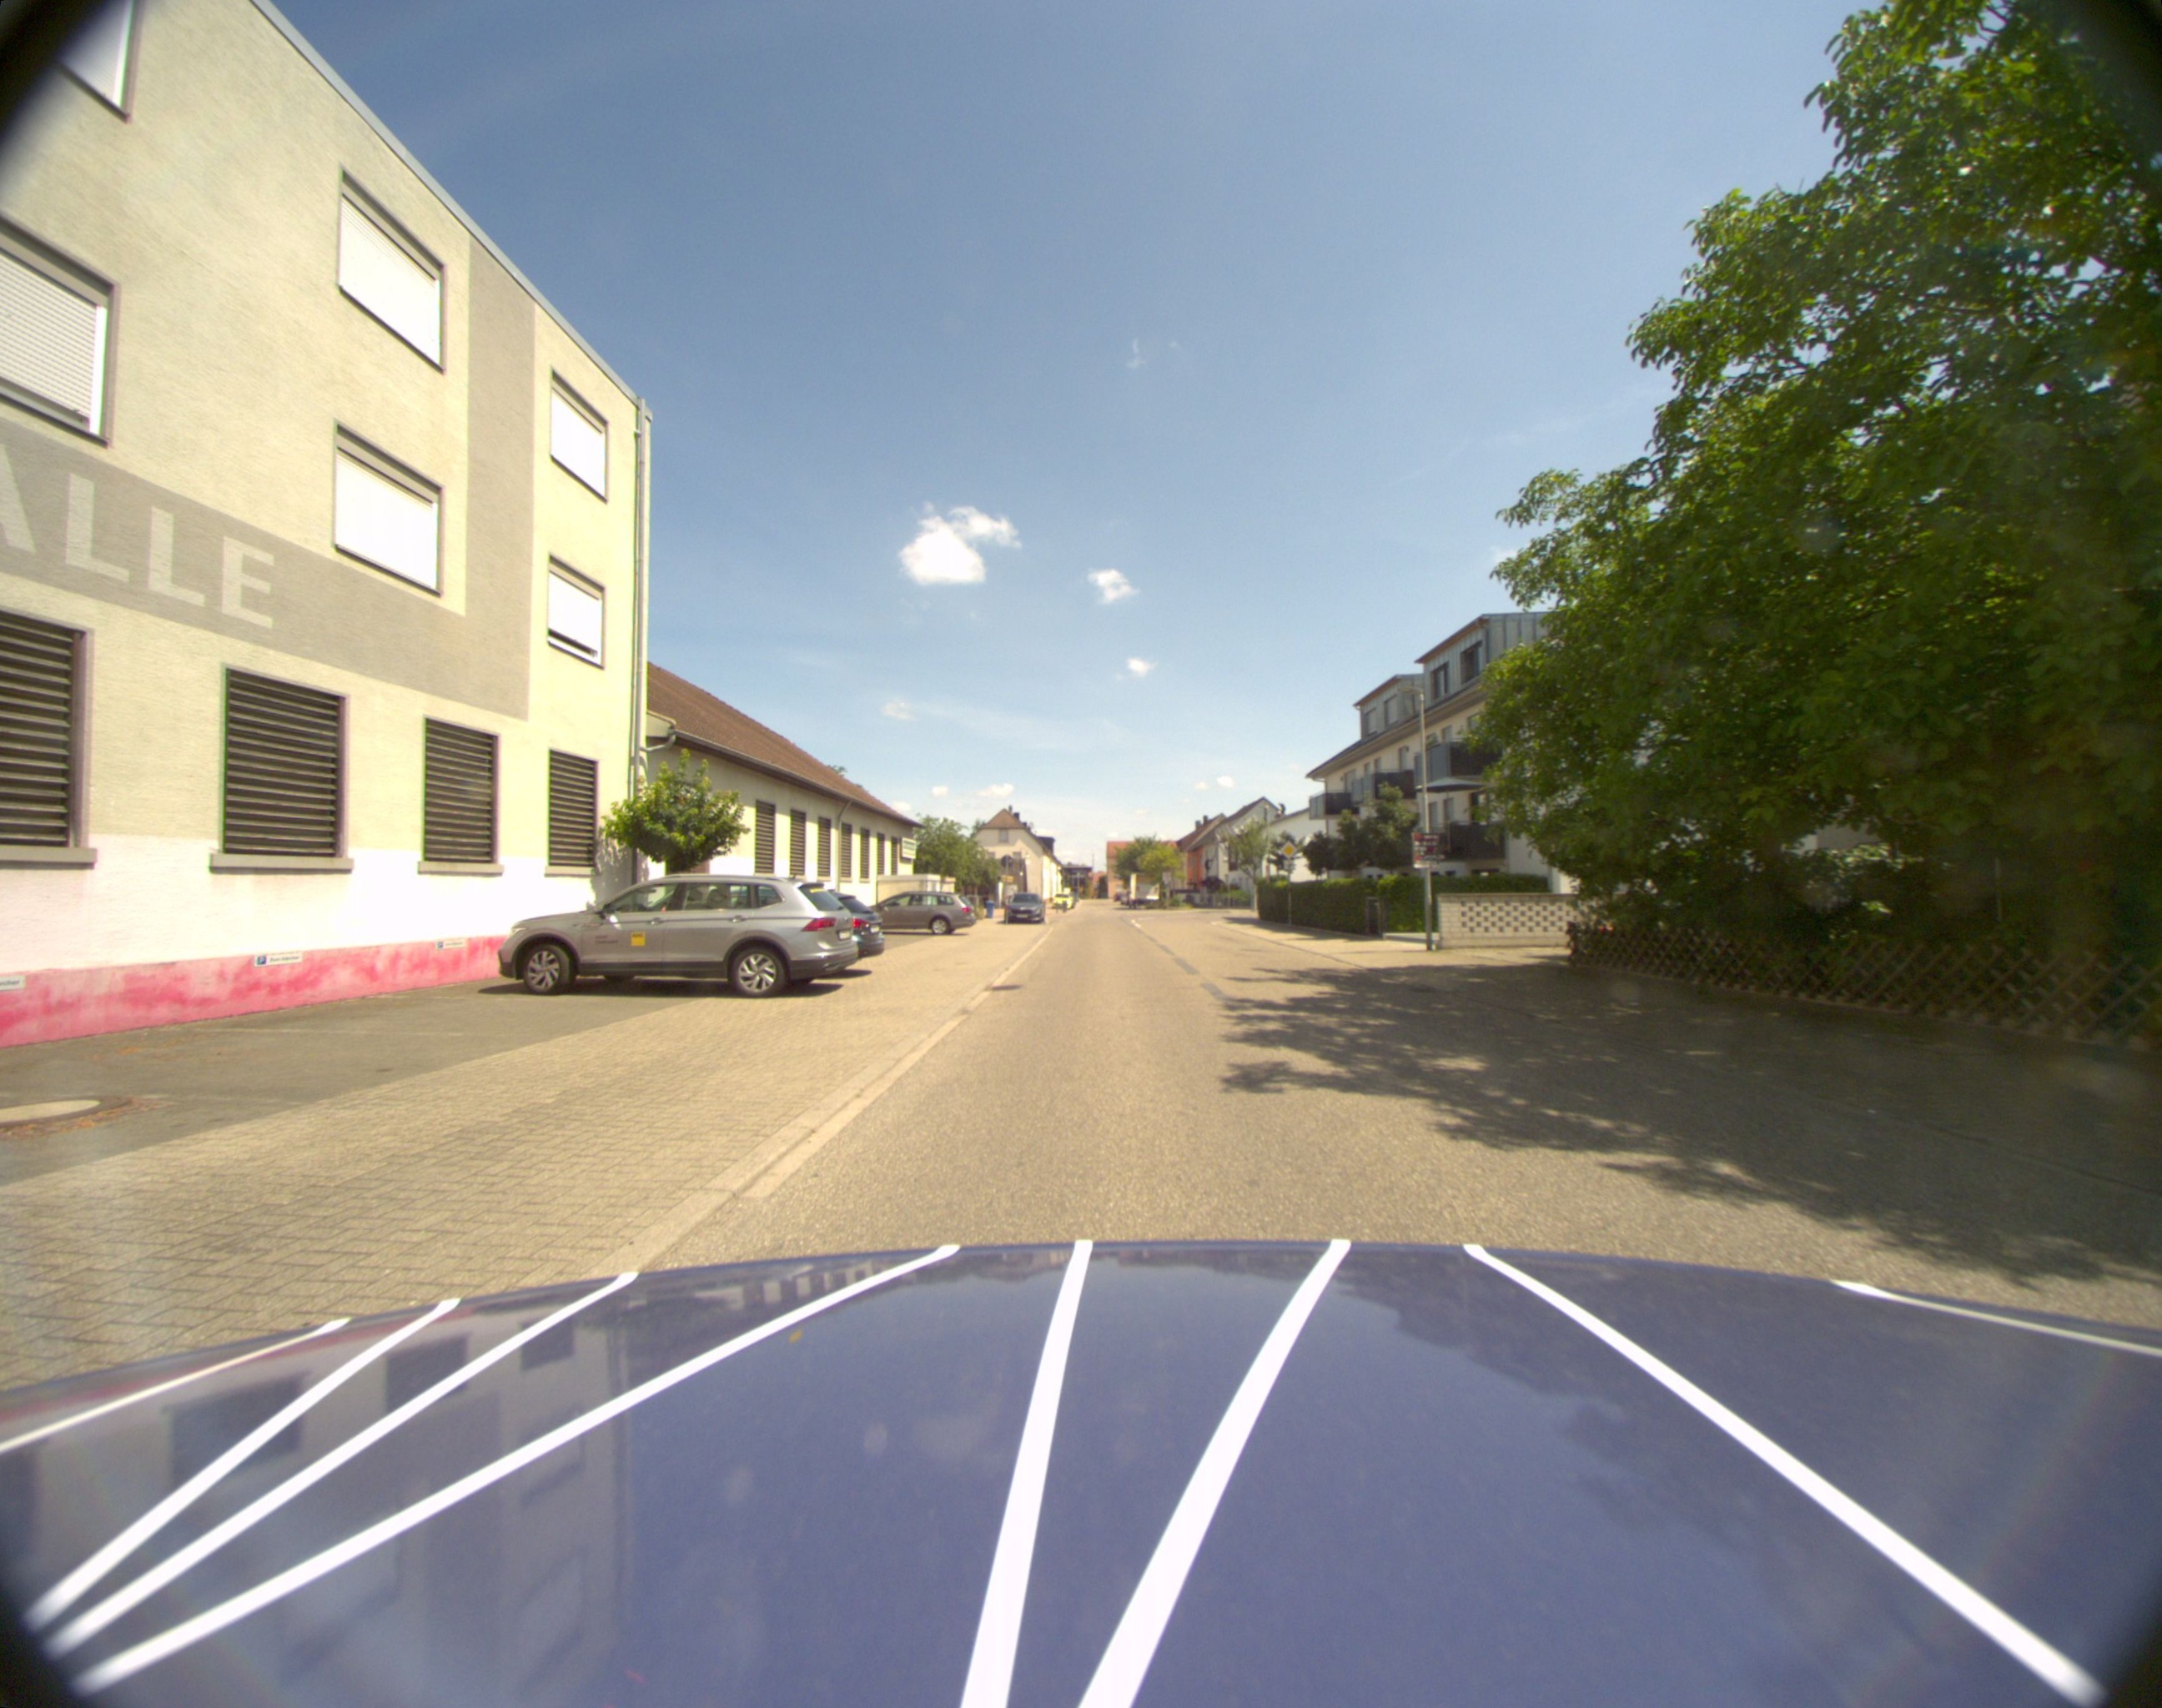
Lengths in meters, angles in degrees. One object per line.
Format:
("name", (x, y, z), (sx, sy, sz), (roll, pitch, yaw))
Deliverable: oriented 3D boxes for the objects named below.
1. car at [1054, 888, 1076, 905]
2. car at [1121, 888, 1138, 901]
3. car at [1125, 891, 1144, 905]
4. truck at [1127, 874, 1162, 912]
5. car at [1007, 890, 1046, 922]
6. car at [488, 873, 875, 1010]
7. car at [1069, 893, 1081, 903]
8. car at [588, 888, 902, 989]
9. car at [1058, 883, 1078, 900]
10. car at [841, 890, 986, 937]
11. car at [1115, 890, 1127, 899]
("car", (-1.402, 3.748, 67.029), (1.720, 1.389, 4.218), (3, -3, 1))
("car", (5.850, 4.944, 92.029), (1.720, 1.490, 4.217), (2, -3, 0))
("car", (6.017, 4.906, 85.857), (1.720, 1.490, 4.217), (2, -3, 0))
("truck", (5.933, 3.667, 71.862), (2.444, 3.226, 7.039), (3, -3, -1))
("car", (-2.603, 2.526, 37.260), (1.632, 1.479, 4.141), (0, -3, -1))
("car", (-5.491, 1.199, 10.940), (4.464, 1.686, 1.923), (1, -3, -1))
("car", (-0.912, 6.713, 116.430), (1.720, 1.490, 4.217), (3, -3, 1))
("car", (-5.629, 1.403, 13.211), (4.512, 1.510, 2.001), (1, -3, 0))
("car", (-1.207, 3.560, 71.930), (1.720, 1.490, 4.217), (3, -3, 1))
("car", (-5.750, 2.051, 26.497), (4.537, 1.445, 1.919), (1, -3, 1))
("car", (6.476, 6.525, 122.531), (1.720, 1.490, 4.217), (2, -3, 0))
